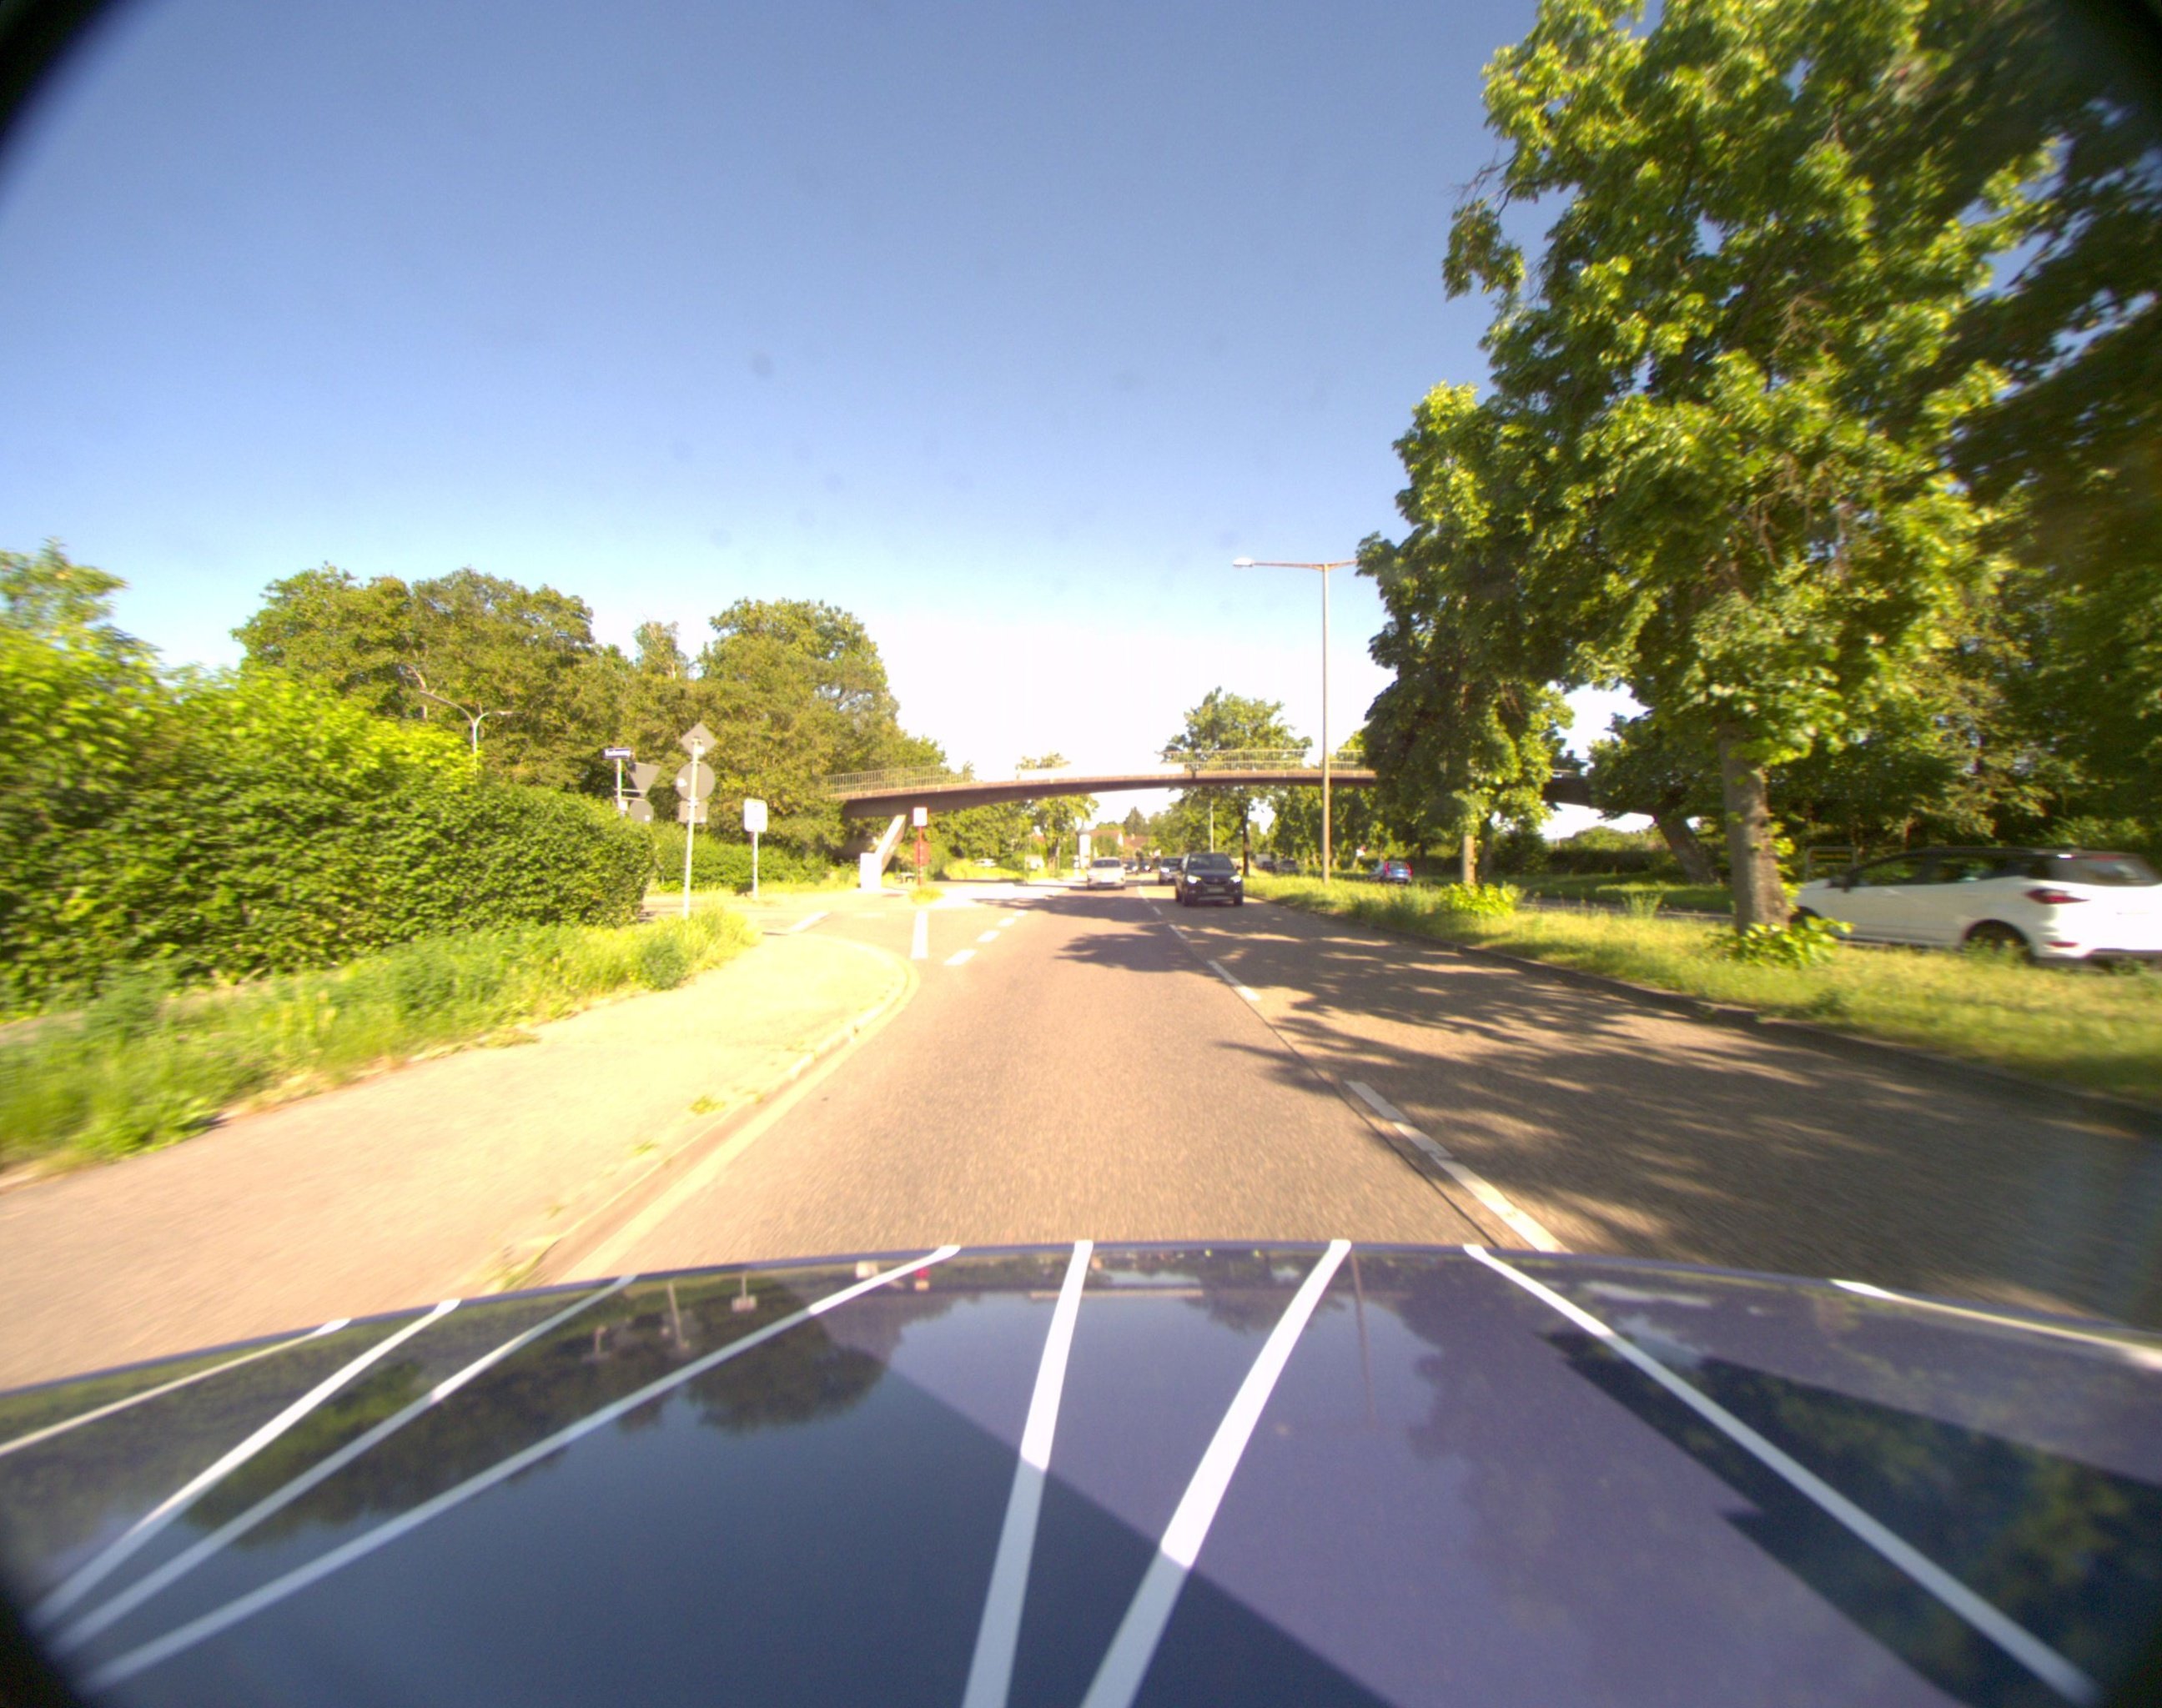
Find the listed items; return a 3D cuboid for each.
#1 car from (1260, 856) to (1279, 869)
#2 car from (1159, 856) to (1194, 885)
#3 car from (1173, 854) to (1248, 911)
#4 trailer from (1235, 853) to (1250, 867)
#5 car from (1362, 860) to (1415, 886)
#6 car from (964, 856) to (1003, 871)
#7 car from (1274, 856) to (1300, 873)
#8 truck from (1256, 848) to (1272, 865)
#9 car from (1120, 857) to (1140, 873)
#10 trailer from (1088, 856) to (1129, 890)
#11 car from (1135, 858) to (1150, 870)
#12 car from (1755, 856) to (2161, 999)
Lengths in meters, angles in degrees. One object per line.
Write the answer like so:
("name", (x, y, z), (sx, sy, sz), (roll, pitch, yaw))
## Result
("car", (24.503, 1.103, 98.827), (1.753, 1.610, 4.580), (0, 0, 5))
("car", (5.470, 0.898, 43.110), (1.822, 1.553, 4.650), (-1, -1, 9))
("car", (3.997, 0.815, 24.159), (1.810, 1.605, 4.515), (0, 0, 3))
("trailer", (23.781, 0.878, 111.928), (1.566, 1.899, 4.284), (0, 0, 5))
("car", (18.084, 1.087, 44.864), (1.543, 1.422, 4.257), (1, 0, 3))
("car", (-12.336, 1.195, 96.406), (4.524, 1.857, 2.074), (0, -2, 12))
("car", (21.431, 1.074, 79.241), (1.735, 1.636, 4.902), (1, 0, 4))
("truck", (28.485, 0.441, 118.533), (2.175, 2.498, 5.748), (2, 0, 13))
("car", (5.024, 1.077, 77.174), (1.822, 1.553, 4.274), (-1, 0, 7))
("trailer", (1.359, 0.931, 37.597), (1.897, 1.585, 4.001), (-1, -1, 2))
("car", (8.159, 1.300, 100.551), (1.822, 1.587, 4.275), (-1, 0, 7))
("car", (12.364, 0.855, 10.845), (1.735, 1.622, 4.197), (1, 0, 0))
